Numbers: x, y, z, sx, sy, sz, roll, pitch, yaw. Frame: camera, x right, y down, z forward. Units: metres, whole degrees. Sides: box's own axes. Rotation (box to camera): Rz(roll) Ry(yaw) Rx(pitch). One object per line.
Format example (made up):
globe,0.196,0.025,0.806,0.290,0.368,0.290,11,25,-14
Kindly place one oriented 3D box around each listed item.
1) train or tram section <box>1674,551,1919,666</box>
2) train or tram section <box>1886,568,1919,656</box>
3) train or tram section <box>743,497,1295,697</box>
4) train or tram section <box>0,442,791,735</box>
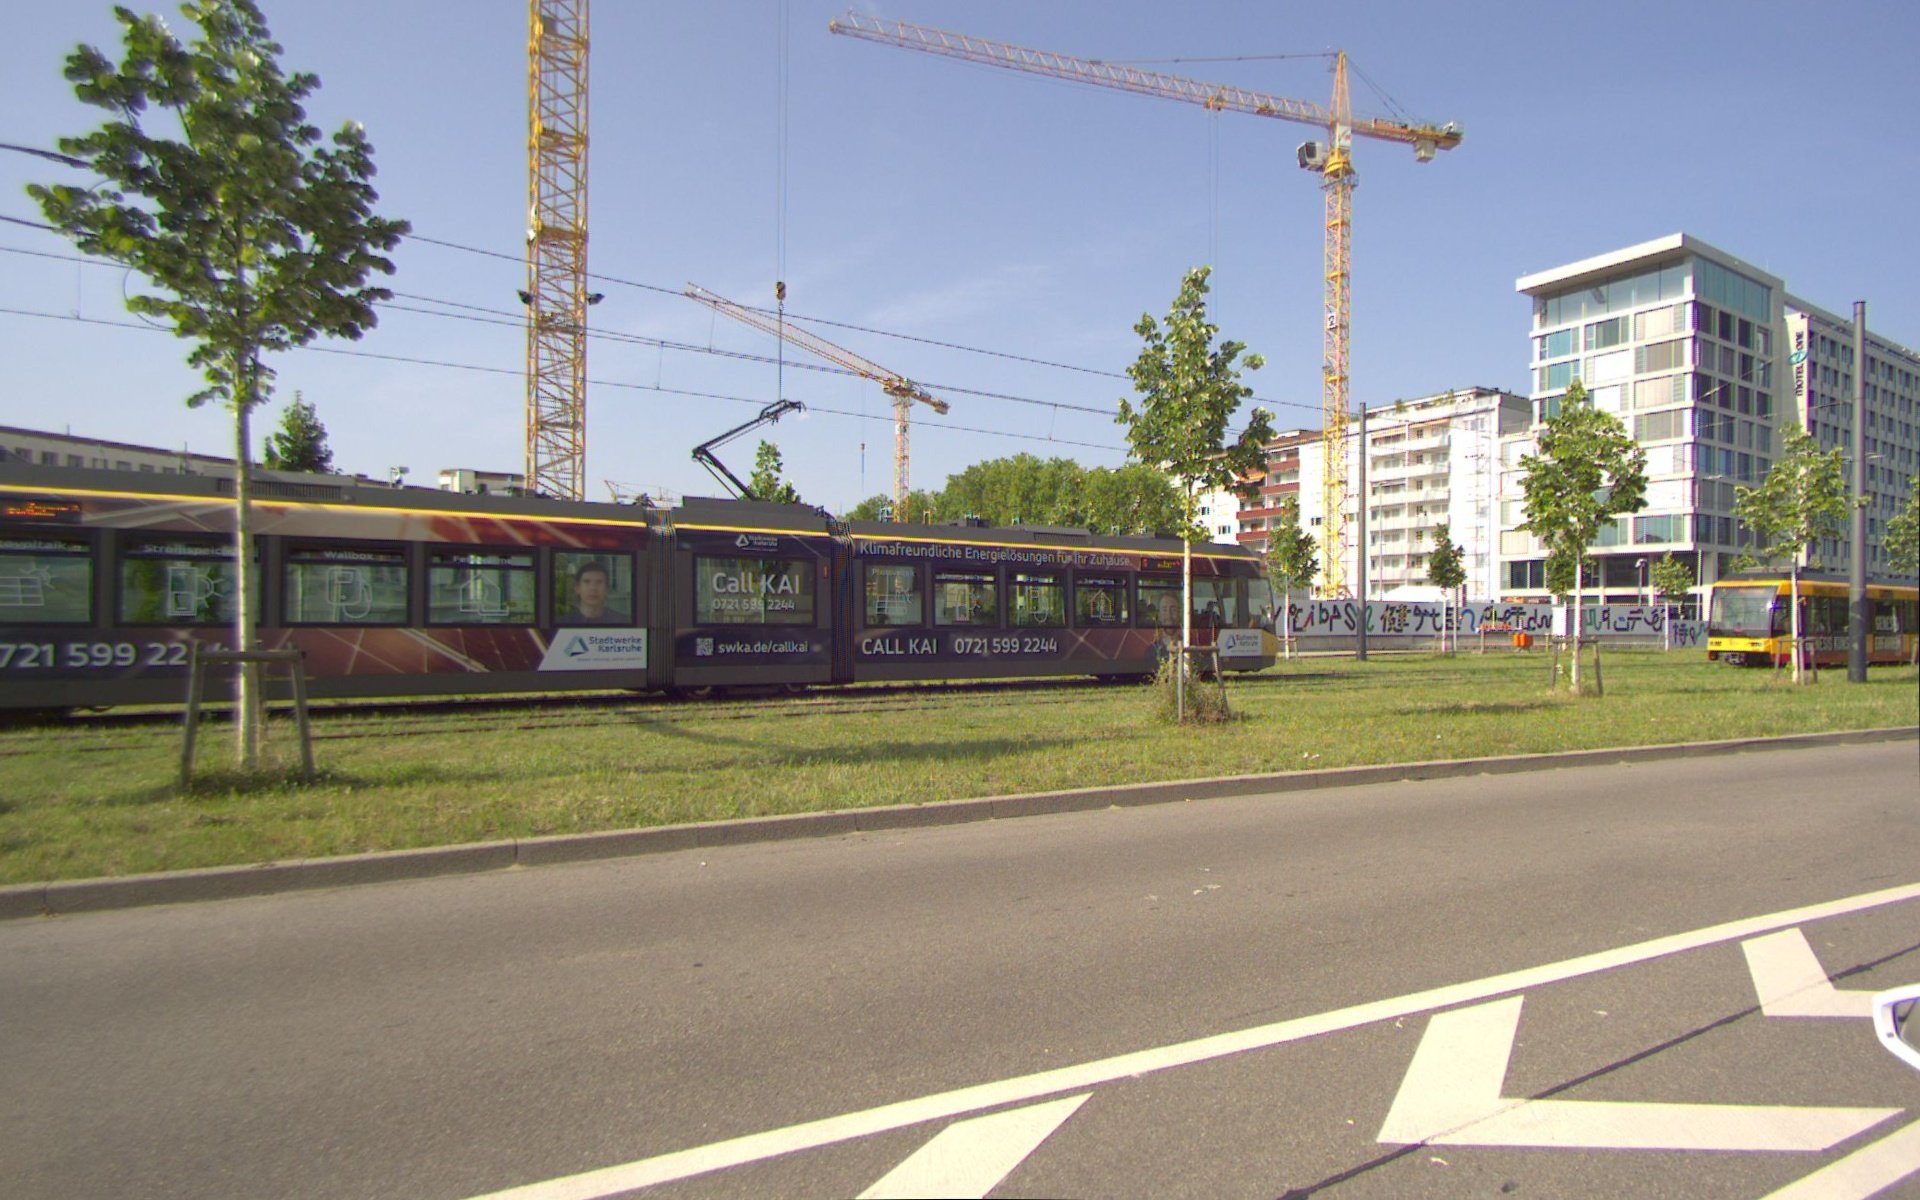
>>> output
train or tram section,33.398,0.411,38.154,17.918,3.725,2.893,1,1,-30
train or tram section,49.050,0.675,47.049,18.069,3.756,2.893,1,1,-30
train or tram section,1.993,0.012,22.882,13.457,3.584,2.866,1,0,-32
train or tram section,-9.953,-0.107,15.169,14.736,3.584,2.844,1,0,-33
